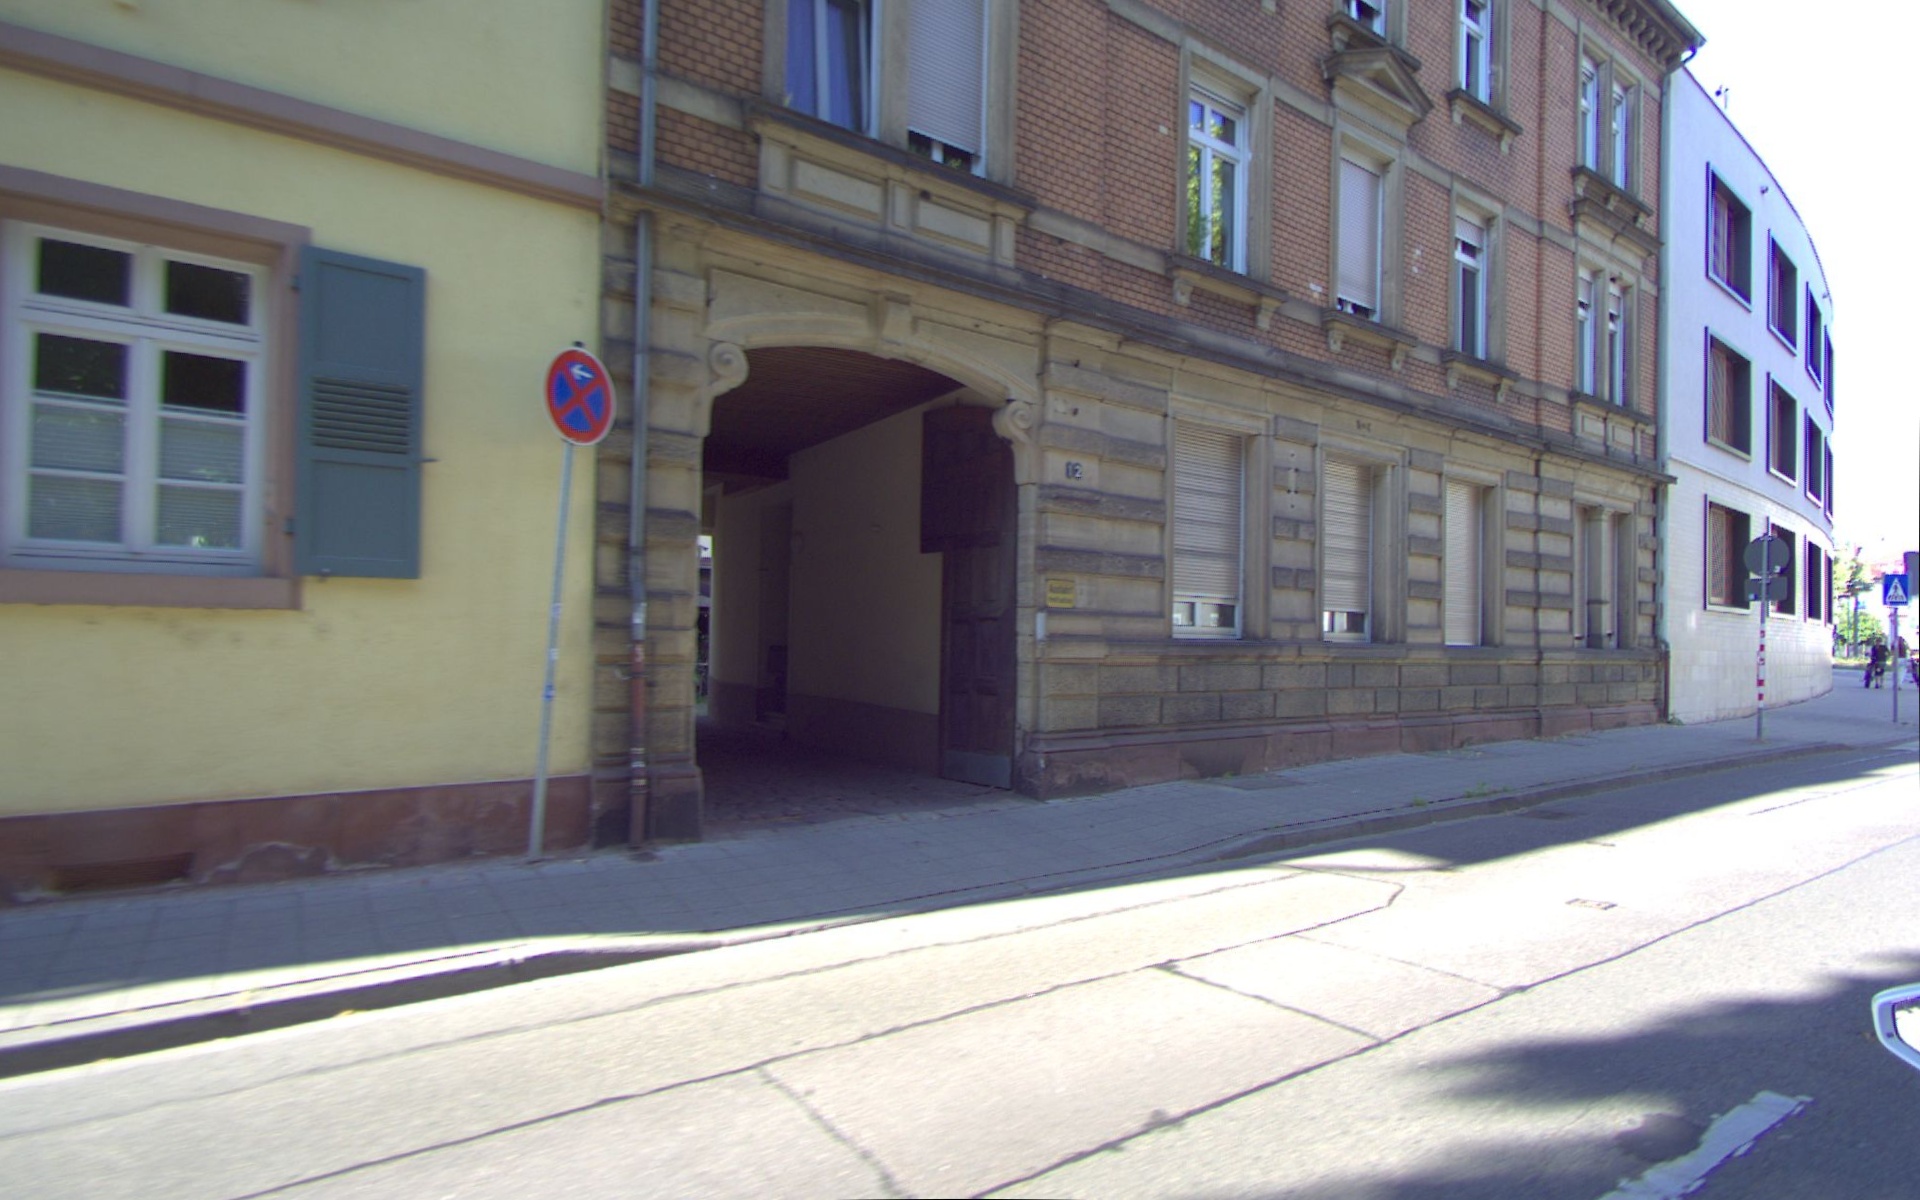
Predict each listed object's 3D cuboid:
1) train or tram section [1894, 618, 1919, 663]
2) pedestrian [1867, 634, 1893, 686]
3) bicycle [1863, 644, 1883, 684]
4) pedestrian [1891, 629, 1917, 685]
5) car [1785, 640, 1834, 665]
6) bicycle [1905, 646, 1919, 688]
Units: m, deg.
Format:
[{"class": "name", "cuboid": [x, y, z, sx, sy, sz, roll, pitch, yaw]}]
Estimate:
[{"class": "train or tram section", "cuboid": [83.004, 3.420, 83.154, 9.736, 3.602, 2.781, 1, -2, -8]}, {"class": "pedestrian", "cuboid": [28.478, 1.866, 31.094, 0.468, 1.585, 0.600, -3, -3, 38]}, {"class": "bicycle", "cuboid": [28.554, 1.987, 31.434, 0.371, 1.182, 1.829, 0, -1, 40]}, {"class": "pedestrian", "cuboid": [28.842, 1.740, 30.689, 0.468, 1.669, 0.600, -2, -2, 38]}, {"class": "car", "cuboid": [52.805, 3.231, 62.513, 1.933, 1.525, 3.673, -2, -3, 35]}, {"class": "bicycle", "cuboid": [29.036, 2.022, 30.391, 0.435, 1.194, 1.959, 1, -1, 37]}]
